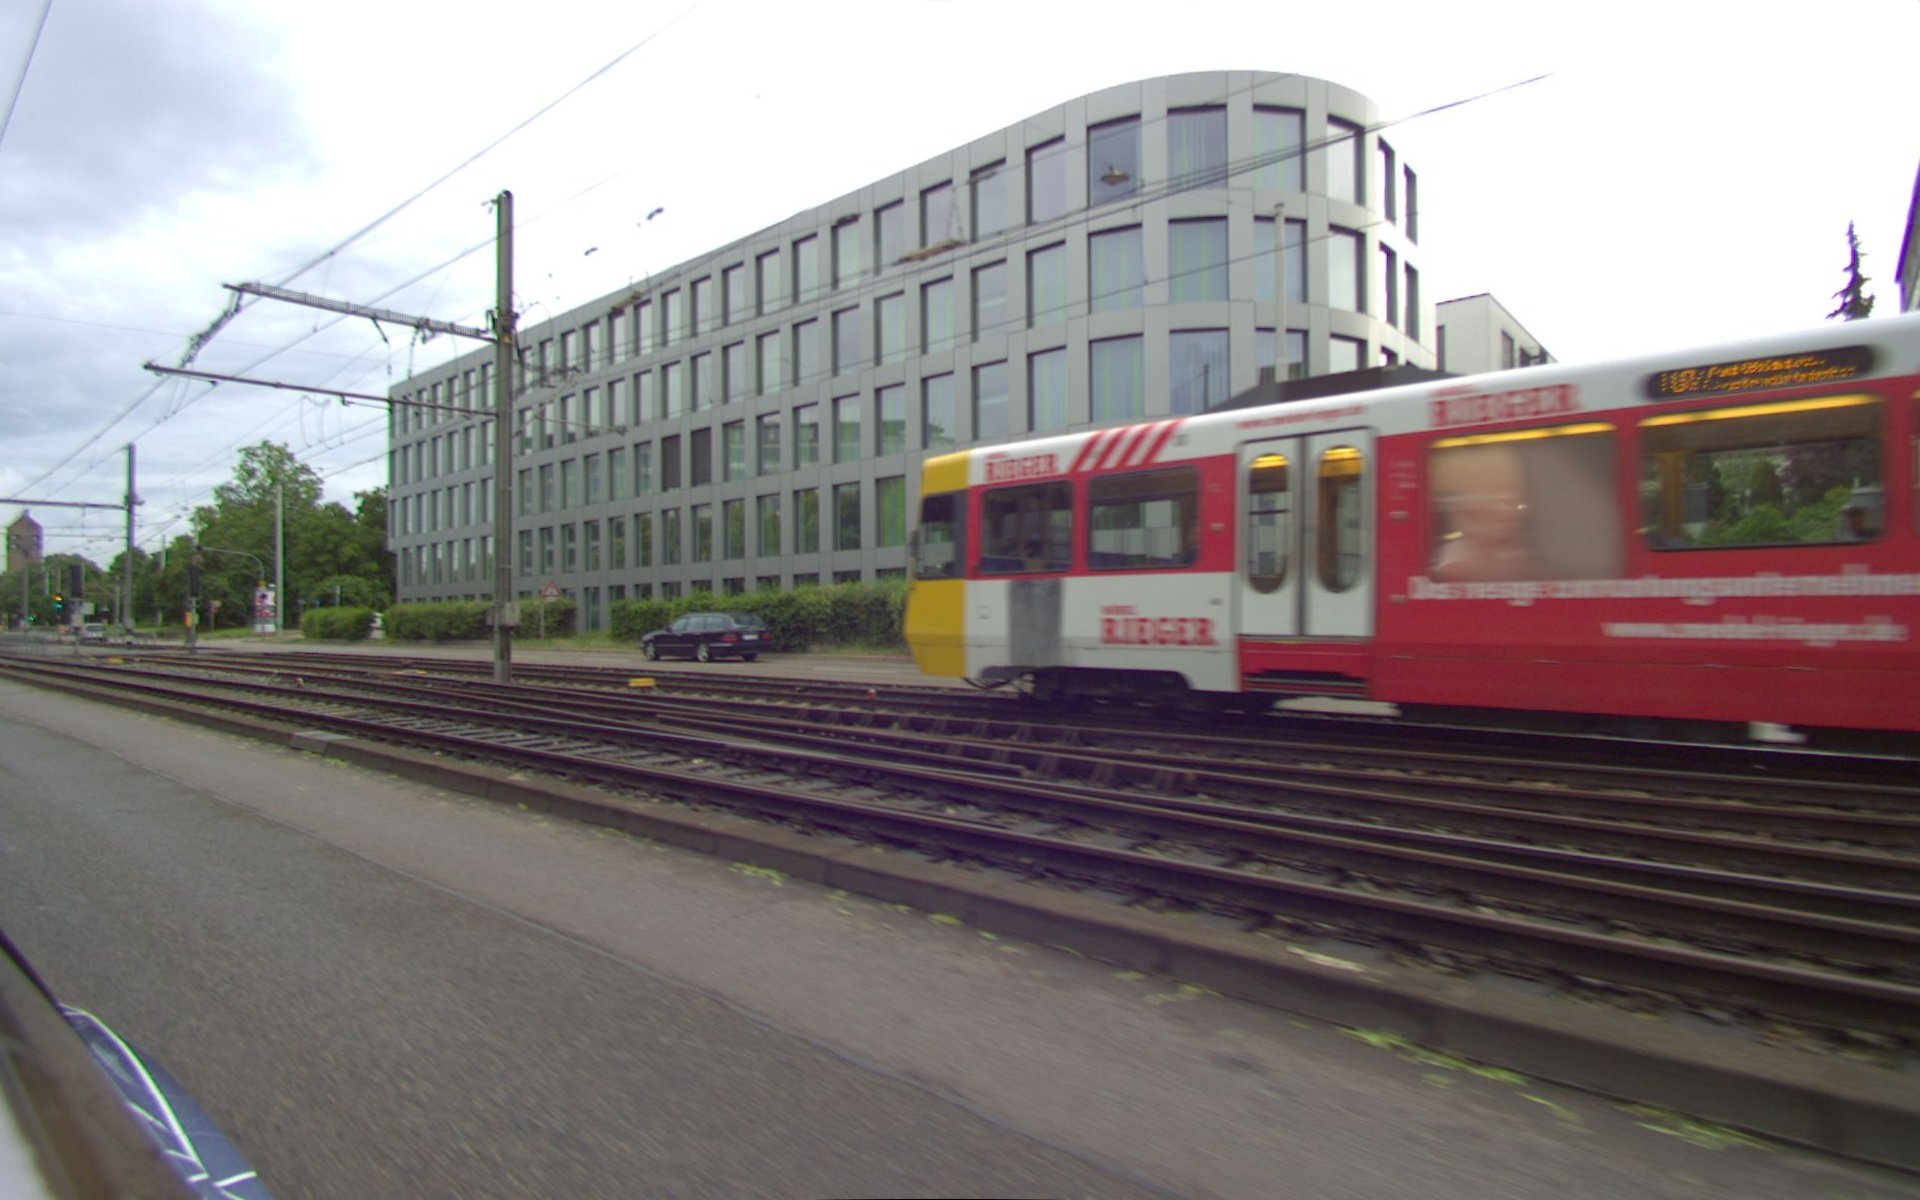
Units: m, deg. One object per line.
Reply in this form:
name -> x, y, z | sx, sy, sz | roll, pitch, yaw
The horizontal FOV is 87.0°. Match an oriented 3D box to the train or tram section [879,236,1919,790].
train or tram section -> 6.689, -0.573, 8.959 | 18.612, 3.840, 2.935 | -2, -1, 43

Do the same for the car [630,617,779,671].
car -> -7.714, 1.255, 30.307 | 4.921, 1.462, 1.885 | -1, -1, 41

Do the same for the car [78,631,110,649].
car -> -80.769, 3.712, 94.336 | 3.562, 1.649, 1.788 | -2, -1, 41
